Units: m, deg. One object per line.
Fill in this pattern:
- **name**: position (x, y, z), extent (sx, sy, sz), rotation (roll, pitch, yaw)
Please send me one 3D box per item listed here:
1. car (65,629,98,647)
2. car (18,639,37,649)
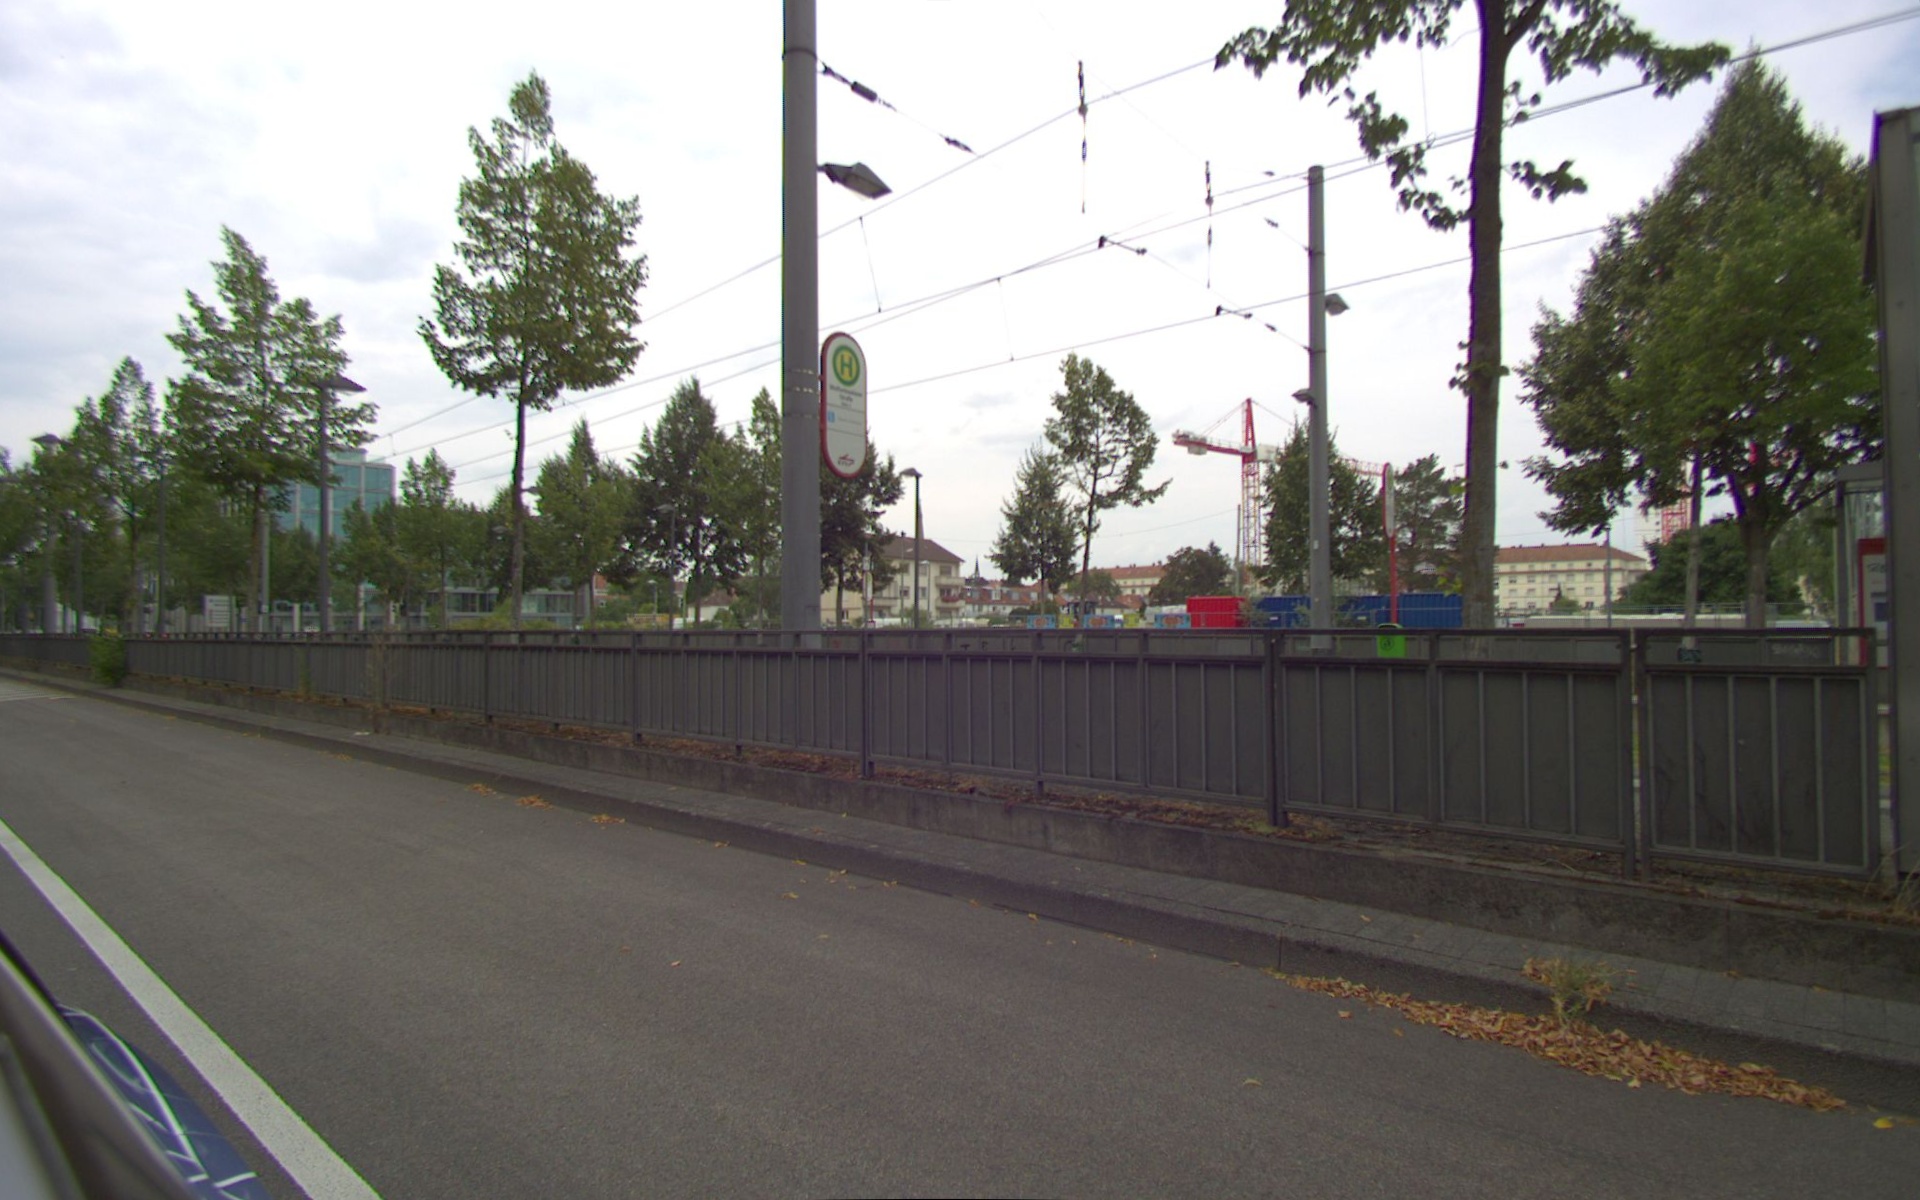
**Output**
- **car**: position (-96.168, 4.189, 110.775), extent (5.093, 1.959, 1.973), rotation (-2, -2, 41)
- **car**: position (-142.281, 6.675, 154.405), extent (3.864, 1.468, 1.729), rotation (-2, -2, 42)
